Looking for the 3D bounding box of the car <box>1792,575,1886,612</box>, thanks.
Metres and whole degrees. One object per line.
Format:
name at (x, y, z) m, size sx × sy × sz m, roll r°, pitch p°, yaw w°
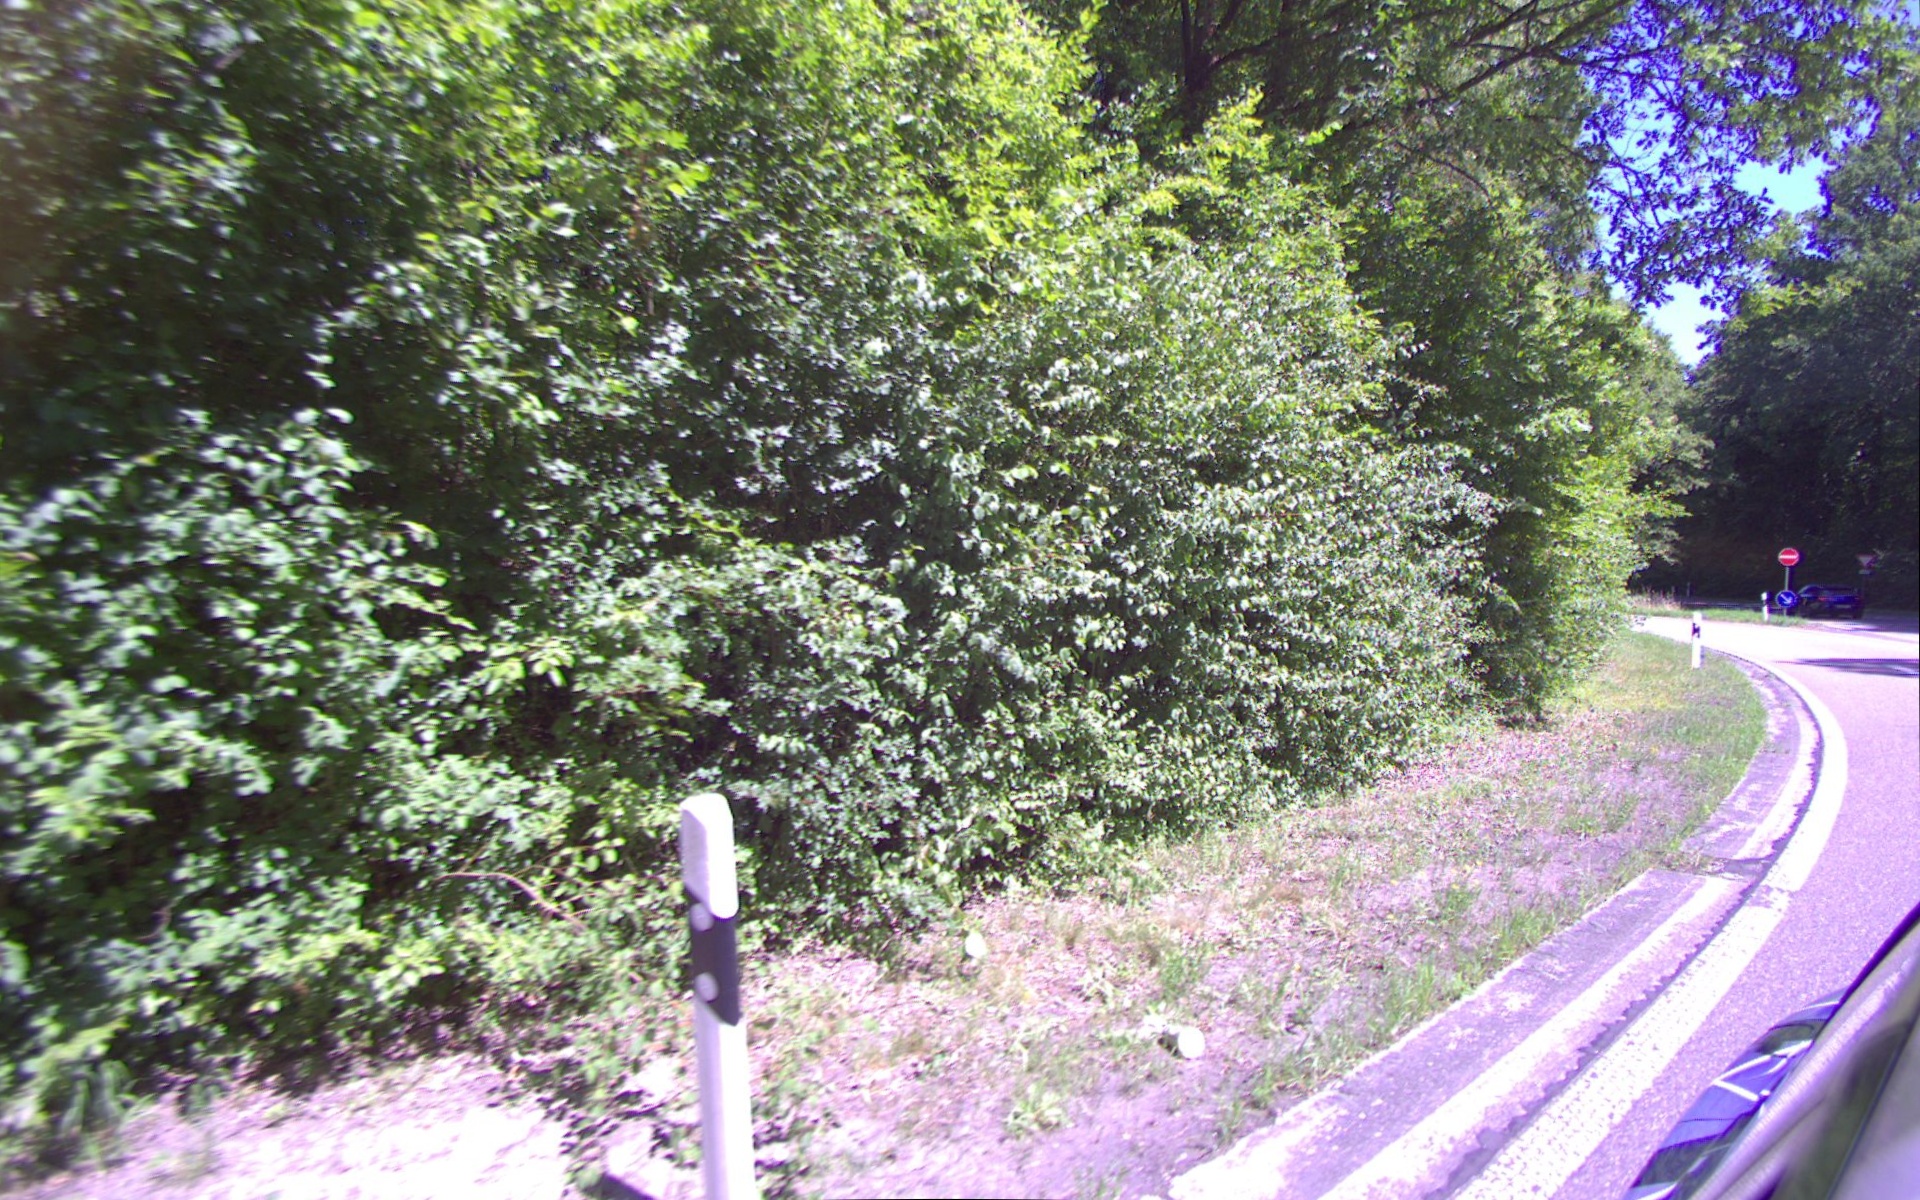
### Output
car at (37.482, -0.333, 43.262) m, size 1.775 × 1.423 × 4.327 m, roll 2°, pitch 3°, yaw 24°
